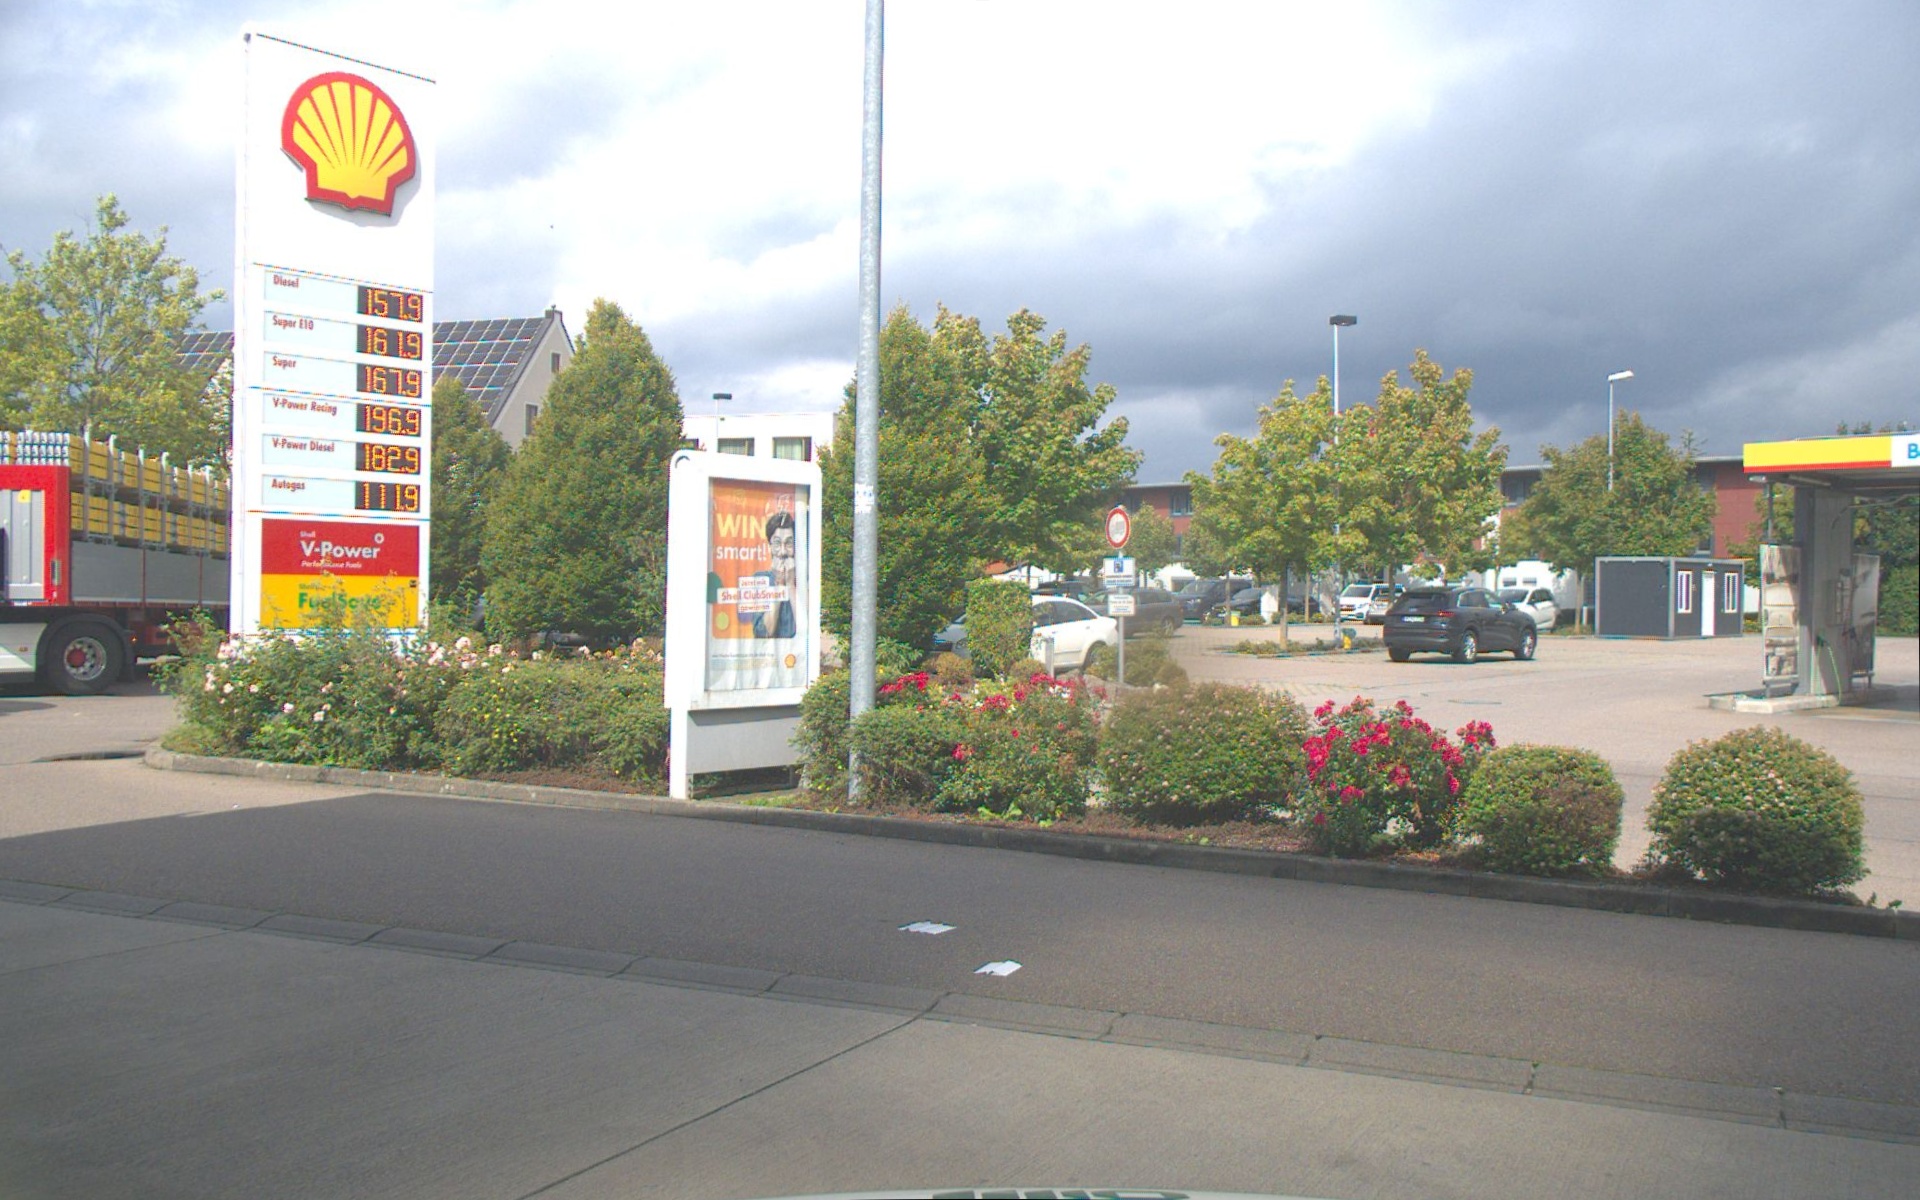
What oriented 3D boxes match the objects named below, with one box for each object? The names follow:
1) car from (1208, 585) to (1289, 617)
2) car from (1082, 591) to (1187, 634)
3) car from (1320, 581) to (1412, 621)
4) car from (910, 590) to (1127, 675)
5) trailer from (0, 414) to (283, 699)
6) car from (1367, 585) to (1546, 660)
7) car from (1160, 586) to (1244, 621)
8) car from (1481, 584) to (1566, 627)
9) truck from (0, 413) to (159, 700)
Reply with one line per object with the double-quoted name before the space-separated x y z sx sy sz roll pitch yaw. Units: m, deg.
"car" 11.403 0.052 65.207 3.393 1.199 1.462 1 0 -45
"car" 5.270 0.376 49.789 3.203 1.249 1.481 1 0 -45
"car" 19.905 0.049 80.943 4.839 1.865 2.150 1 0 -44
"car" 1.126 0.583 29.933 1.348 1.428 4.312 1 -1 45
"trailer" -14.513 -0.587 28.483 2.681 3.842 12.680 1 0 -11
"car" 11.123 0.494 36.890 4.467 1.575 1.856 1 0 -44
"car" 9.802 0.155 66.929 3.364 1.343 1.719 1 0 -45
"car" 17.999 0.181 52.804 3.080 1.330 1.346 1 -1 -45
"truck" -14.664 -0.615 22.846 2.694 3.913 5.881 1 -1 43
